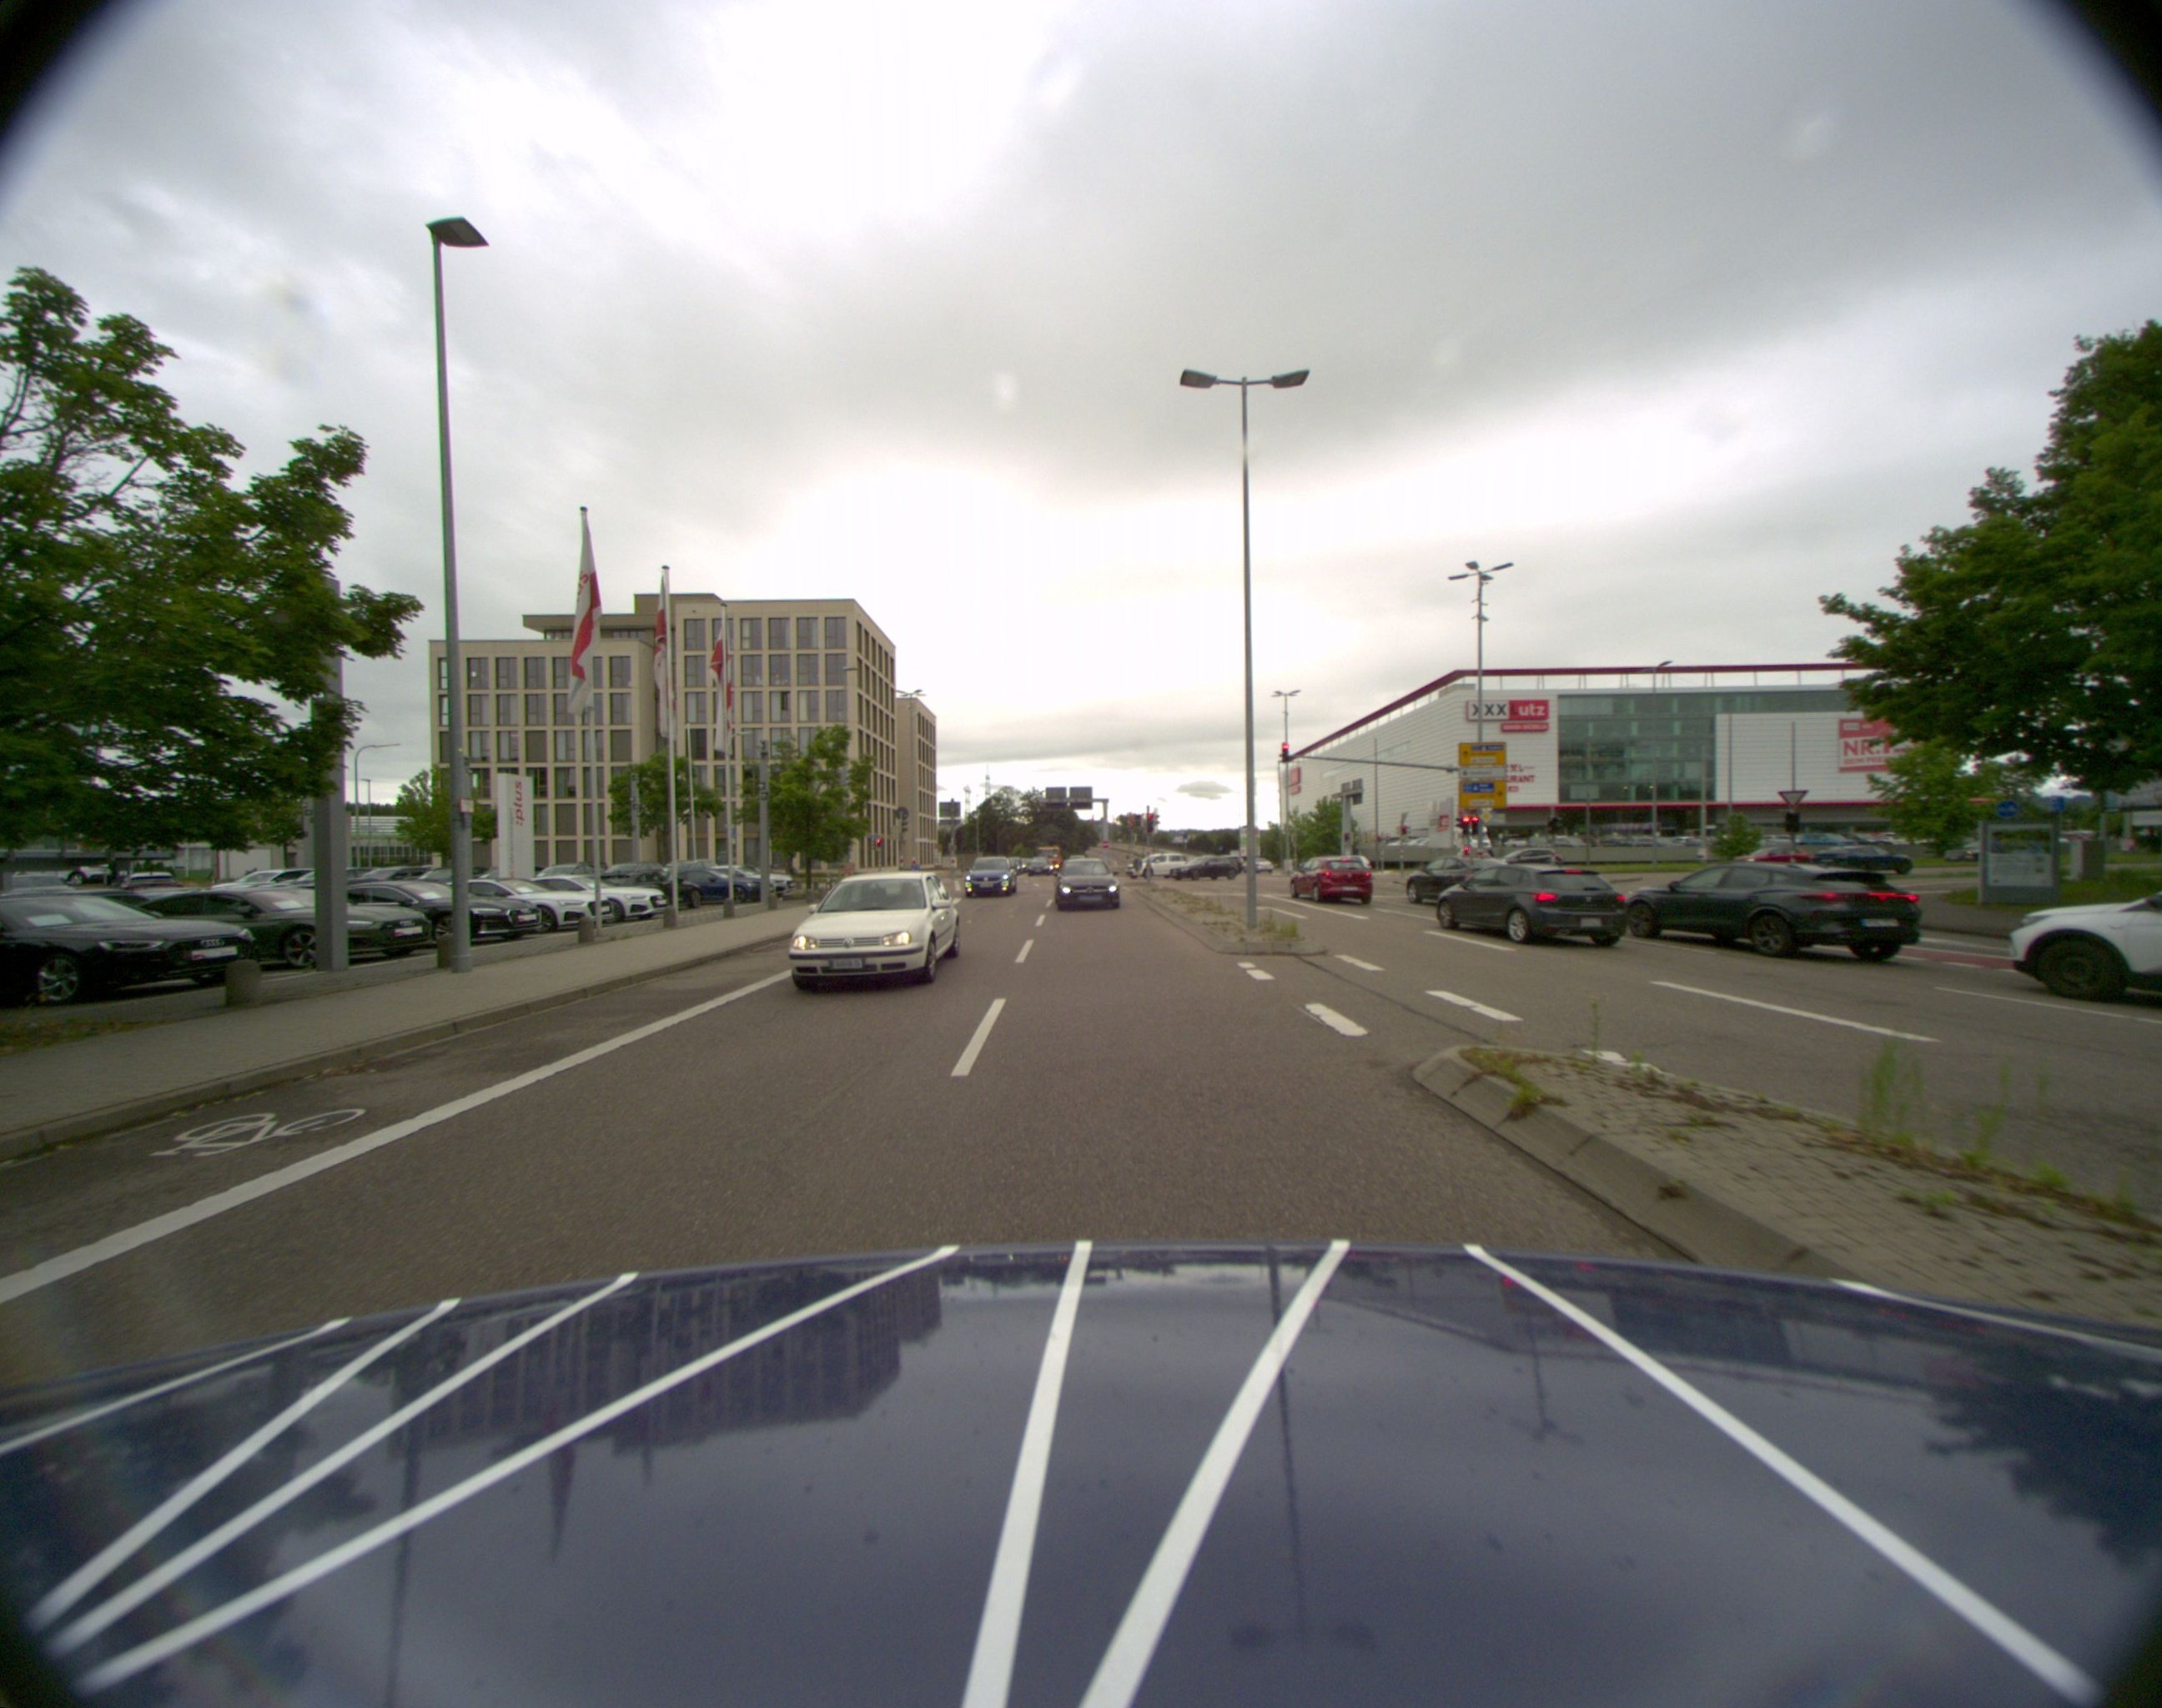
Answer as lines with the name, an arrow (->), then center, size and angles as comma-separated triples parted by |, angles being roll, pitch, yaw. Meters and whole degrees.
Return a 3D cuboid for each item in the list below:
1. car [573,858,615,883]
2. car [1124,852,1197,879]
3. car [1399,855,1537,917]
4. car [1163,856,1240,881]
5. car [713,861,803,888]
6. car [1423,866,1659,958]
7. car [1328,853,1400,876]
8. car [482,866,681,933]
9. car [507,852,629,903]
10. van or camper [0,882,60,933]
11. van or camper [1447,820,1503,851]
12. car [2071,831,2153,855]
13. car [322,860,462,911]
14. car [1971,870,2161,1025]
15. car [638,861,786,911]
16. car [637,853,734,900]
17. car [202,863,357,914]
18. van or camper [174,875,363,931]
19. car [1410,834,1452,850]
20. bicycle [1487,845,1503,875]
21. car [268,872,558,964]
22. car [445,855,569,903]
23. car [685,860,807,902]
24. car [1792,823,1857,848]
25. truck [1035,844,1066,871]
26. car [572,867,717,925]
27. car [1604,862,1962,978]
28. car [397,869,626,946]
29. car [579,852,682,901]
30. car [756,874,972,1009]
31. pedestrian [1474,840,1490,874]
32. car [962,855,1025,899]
car -> -39.857, 1.361, 62.202 | 2.004, 1.954, 4.233 | -2, 0, -45
car -> 5.121, 0.726, 48.917 | 4.380, 1.615, 1.796 | -1, -2, -28
car -> 11.732, 0.903, 23.412 | 1.885, 1.628, 4.332 | 2, 1, -2
car -> 7.139, 0.866, 45.006 | 4.265, 1.370, 1.765 | -1, -2, -27
car -> -19.636, 1.243, 46.238 | 4.609, 1.542, 1.986 | -1, 0, 4
car -> 8.500, 0.977, 14.597 | 1.862, 1.453, 4.331 | 1, 0, -1
car -> 19.041, 0.738, 51.233 | 4.215, 1.407, 1.803 | -2, -1, 3
car -> -13.738, 1.231, 21.065 | 4.195, 1.477, 1.853 | -4, 0, 1
car -> -23.949, 1.016, 35.751 | 2.264, 2.002, 5.037 | -2, 2, -1
van or camper -> -37.358, 1.822, 25.096 | 1.846, 1.701, 4.001 | -2, -2, 0
van or camper -> 44.076, -2.006, 85.285 | 2.712, 3.116, 7.240 | -2, -2, 3
car -> 93.138, -0.949, 68.732 | 1.998, 2.001, 4.002 | -2, -1, 3
car -> -31.911, 1.393, 35.439 | 1.999, 2.002, 4.906 | -2, 2, -1
car -> 12.196, 1.013, 7.239 | 1.999, 1.585, 4.577 | 3, 0, 0
car -> -13.955, 1.202, 28.960 | 4.514, 1.478, 2.069 | -4, 2, -2
car -> -18.376, 0.976, 35.576 | 1.999, 1.852, 4.785 | -2, 2, -1
car -> -37.464, 1.534, 35.757 | 1.999, 2.002, 4.906 | -2, 2, -1
van or camper -> -26.741, 1.560, 25.239 | 1.999, 1.667, 4.001 | -2, -2, 0
car -> 43.109, -1.471, 93.563 | 4.255, 1.665, 1.778 | -2, -1, 3
bicycle -> 19.882, 0.263, 36.479 | 0.595, 1.388, 1.937 | 1, 2, 27
car -> -13.549, 1.261, 15.619 | 4.229, 1.477, 1.871 | -4, 0, 1
car -> -26.599, 1.079, 35.469 | 2.053, 1.866, 4.960 | -2, 2, -3
car -> -13.961, 1.106, 31.848 | 4.226, 1.477, 1.874 | -3, 1, 0
car -> 68.064, -1.644, 69.600 | 1.998, 2.001, 4.001 | -2, -1, 1
truck -> -3.157, 0.415, 80.959 | 2.819, 2.622, 6.677 | -2, -2, 1
car -> -14.109, 1.287, 24.968 | 1.891, 1.477, 4.755 | -4, 0, 1
car -> 11.773, 0.985, 13.317 | 1.885, 1.536, 4.596 | 1, 1, -2
car -> -13.641, 1.254, 18.387 | 4.041, 1.477, 1.877 | -4, 0, 0
car -> -20.947, 0.979, 35.610 | 1.999, 2.002, 4.714 | -2, 2, -1
car -> -2.816, 1.069, 10.846 | 1.837, 1.469, 4.005 | -2, -1, 1
pedestrian -> 19.417, 0.129, 36.794 | 0.639, 1.617, 0.693 | 0, 2, 26
car -> -3.450, 0.871, 30.815 | 1.846, 1.612, 4.333 | -2, 0, 2
